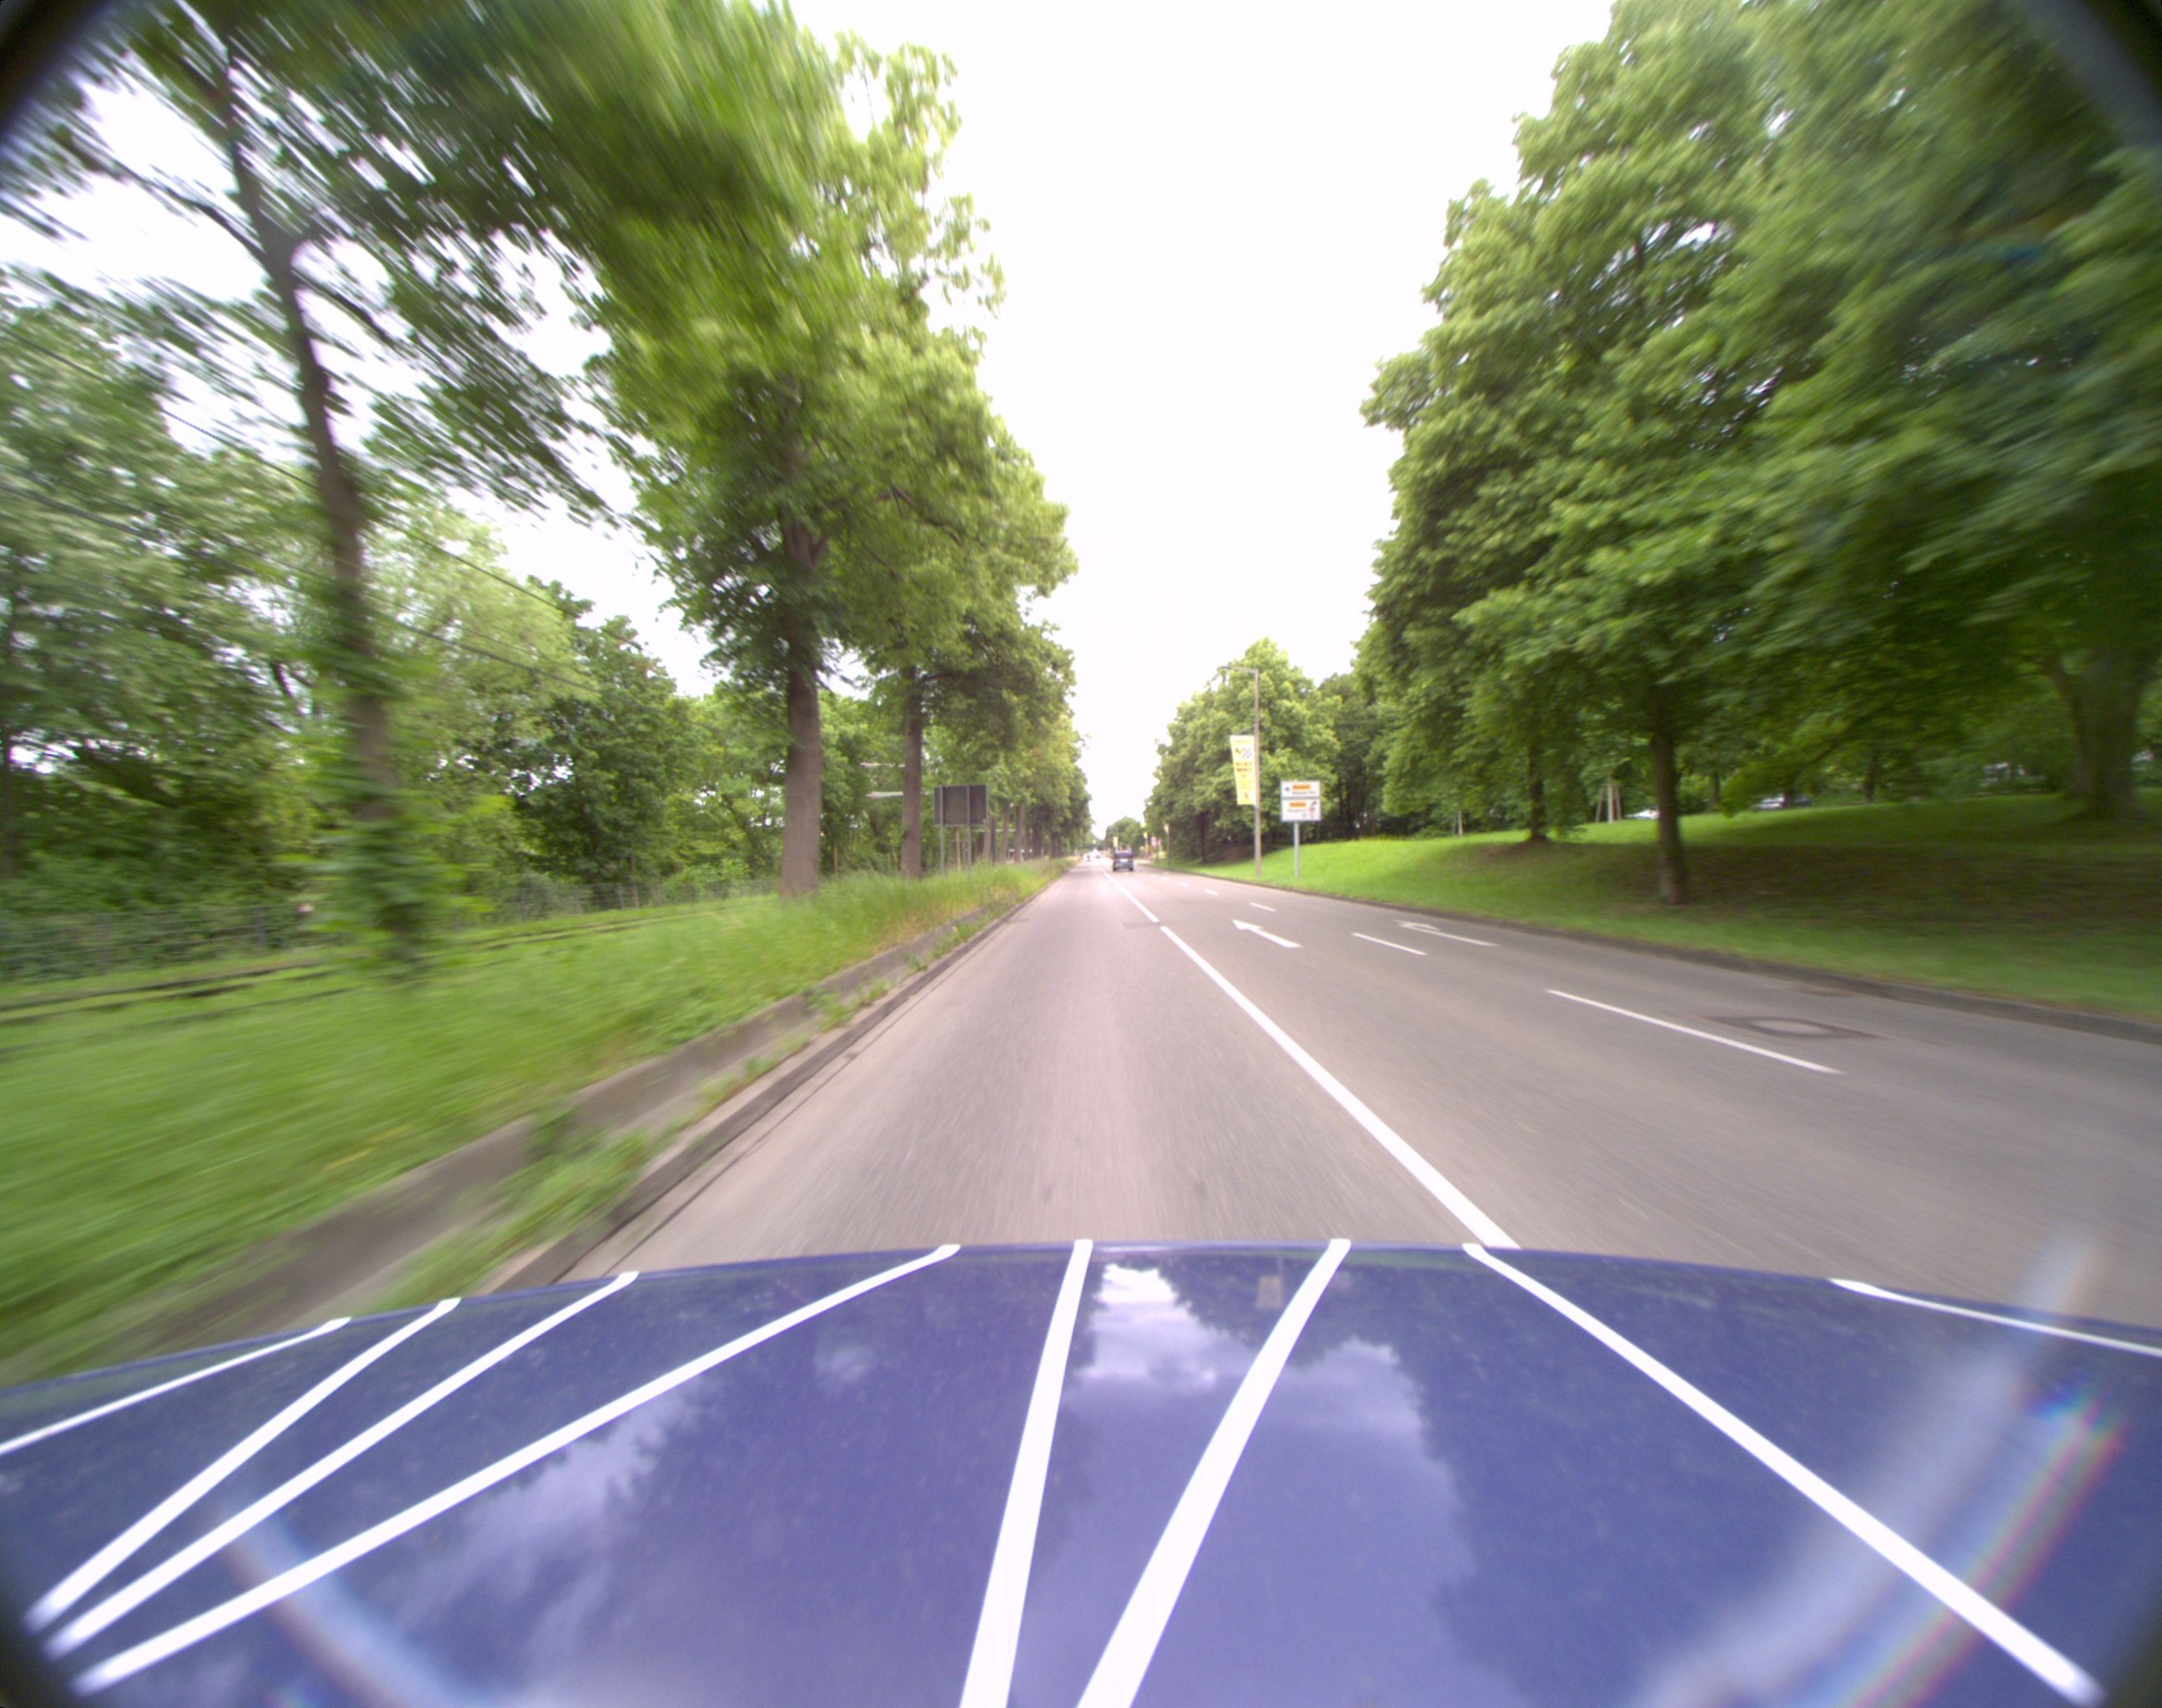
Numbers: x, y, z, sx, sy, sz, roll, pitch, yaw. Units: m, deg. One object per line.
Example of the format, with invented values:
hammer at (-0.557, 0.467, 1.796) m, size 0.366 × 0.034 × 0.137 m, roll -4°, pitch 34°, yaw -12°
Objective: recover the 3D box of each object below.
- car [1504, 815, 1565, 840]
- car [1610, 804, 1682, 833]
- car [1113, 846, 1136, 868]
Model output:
car at (38.151, -2.257, 63.862) m, size 4.910 × 1.884 × 1.996 m, roll -3°, pitch 1°, yaw -26°
car at (41.883, -2.641, 56.333) m, size 4.910 × 1.884 × 2.316 m, roll -3°, pitch 1°, yaw -26°
car at (4.141, 0.262, 73.073) m, size 1.998 × 1.944 × 5.183 m, roll -1°, pitch 1°, yaw 1°
